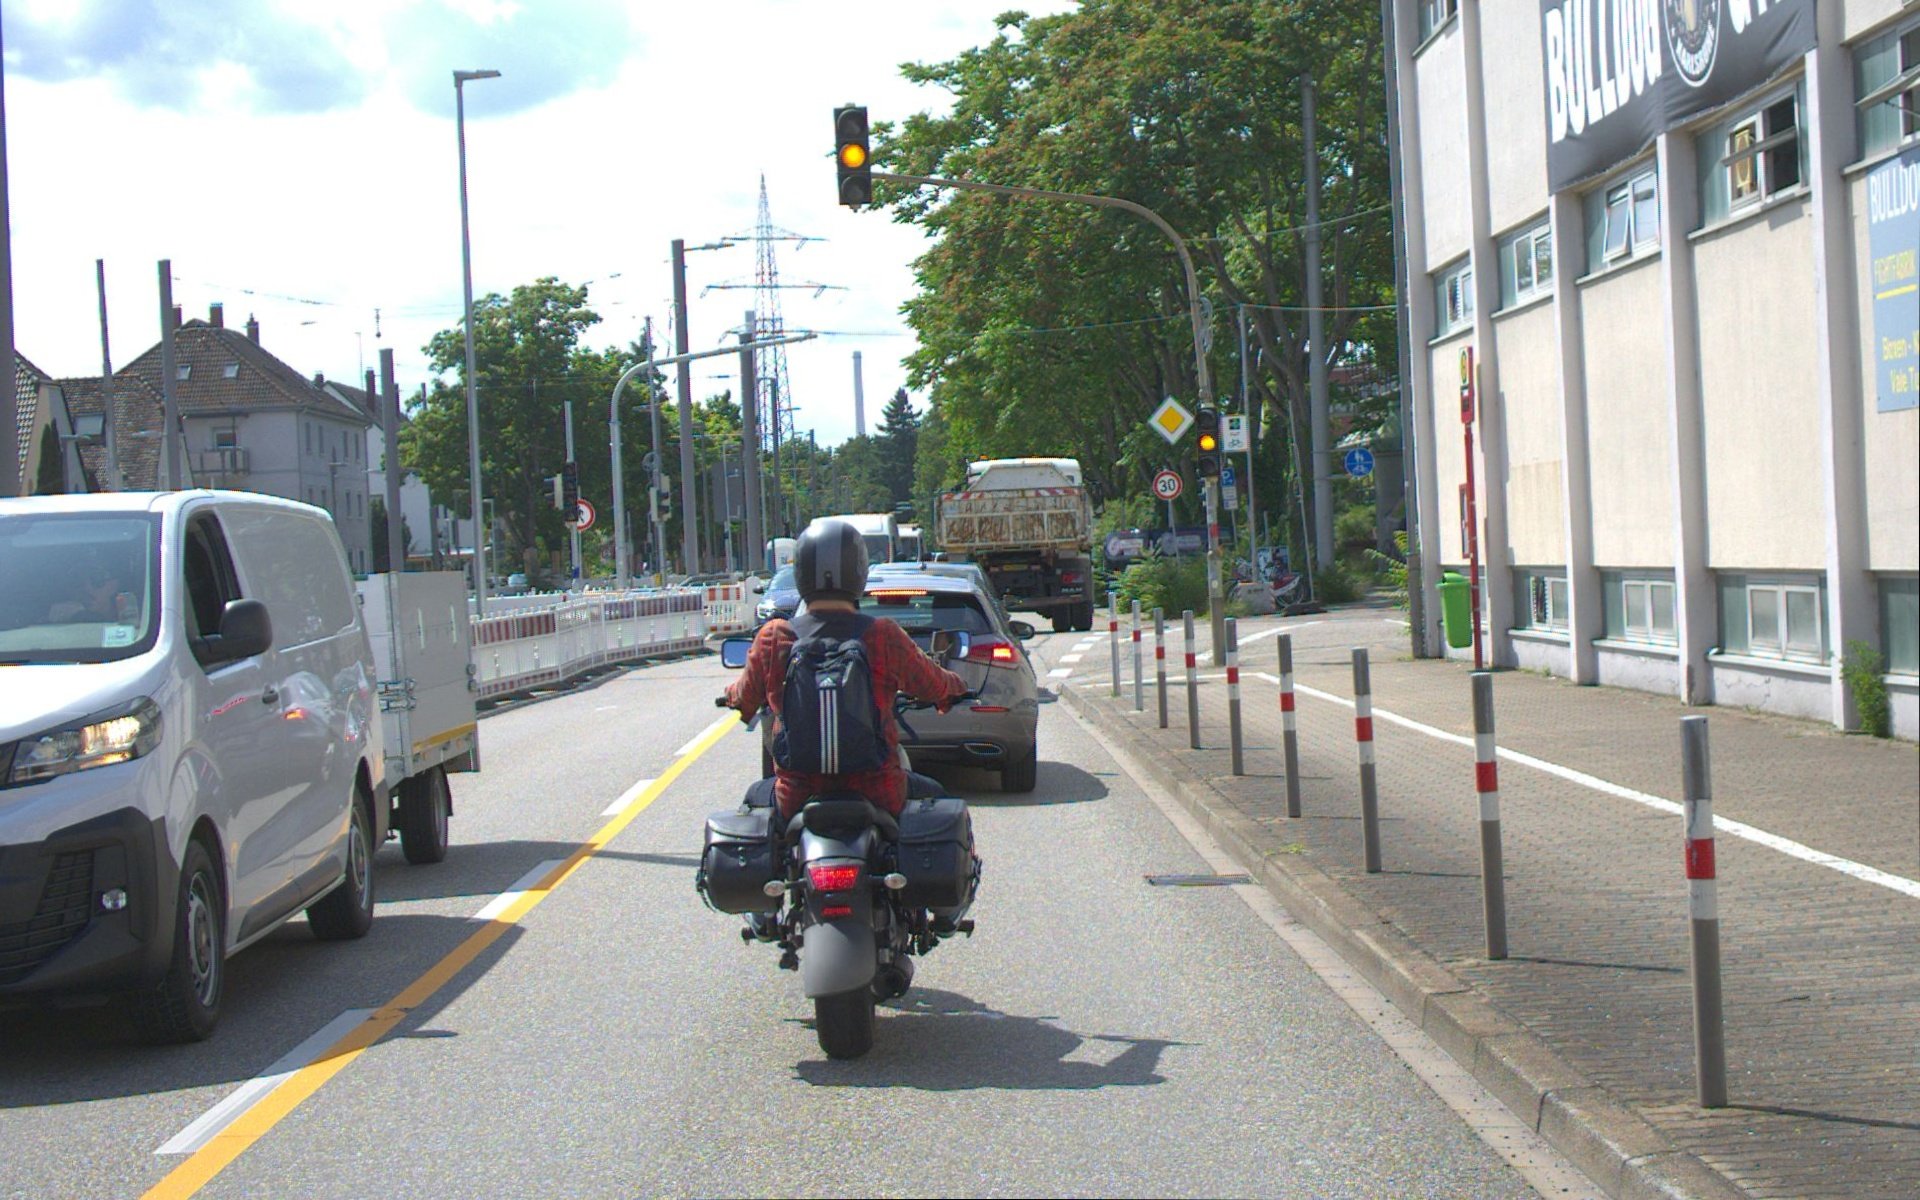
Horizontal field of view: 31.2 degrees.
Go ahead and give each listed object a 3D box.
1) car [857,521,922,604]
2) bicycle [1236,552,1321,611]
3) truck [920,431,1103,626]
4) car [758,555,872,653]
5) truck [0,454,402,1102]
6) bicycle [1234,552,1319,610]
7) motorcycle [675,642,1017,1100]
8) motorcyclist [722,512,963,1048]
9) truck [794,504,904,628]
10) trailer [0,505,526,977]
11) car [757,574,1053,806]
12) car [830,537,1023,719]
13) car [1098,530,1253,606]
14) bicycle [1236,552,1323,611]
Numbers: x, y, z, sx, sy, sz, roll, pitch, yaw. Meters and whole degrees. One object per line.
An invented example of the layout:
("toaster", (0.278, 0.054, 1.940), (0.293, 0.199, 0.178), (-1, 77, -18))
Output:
("car", (-1.863, -0.979, 91.120), (1.589, 2.135, 3.627), (-1, 0, 0))
("bicycle", (6.468, -0.376, 69.836), (1.708, 1.168, 0.438), (-1, 0, 5))
("truck", (1.001, -1.206, 60.686), (2.967, 3.162, 7.763), (-1, 0, 2))
("car", (-2.432, 0.036, 58.608), (1.645, 1.493, 4.269), (-2, 1, 1))
("truck", (-3.437, 0.587, 12.816), (1.820, 1.903, 5.116), (-5, 0, -1))
("bicycle", (6.470, -0.387, 70.396), (1.708, 1.168, 0.438), (-1, 0, 5))
("motorcycle", (-0.326, 0.775, 10.866), (0.942, 1.196, 2.472), (-1, 1, 0))
("motorcyclist", (-0.354, 0.539, 10.660), (0.698, 1.599, 0.692), (-1, 0, 0))
("truck", (-2.451, -0.809, 77.136), (2.093, 2.468, 5.196), (-4, 2, 0))
("trailer", (-3.561, 0.589, 16.977), (2.062, 1.829, 5.485), (-5, 0, -1))
("car", (-0.456, 0.542, 23.446), (1.731, 1.399, 4.087), (0, 1, -5))
("car", (-0.299, 0.244, 37.955), (1.901, 1.706, 4.719), (-3, 2, 1))
("car", (5.631, -0.834, 89.637), (3.989, 1.919, 1.802), (-1, 0, -45))
("bicycle", (6.437, -0.375, 69.296), (1.708, 1.168, 0.438), (-1, 0, 5))
